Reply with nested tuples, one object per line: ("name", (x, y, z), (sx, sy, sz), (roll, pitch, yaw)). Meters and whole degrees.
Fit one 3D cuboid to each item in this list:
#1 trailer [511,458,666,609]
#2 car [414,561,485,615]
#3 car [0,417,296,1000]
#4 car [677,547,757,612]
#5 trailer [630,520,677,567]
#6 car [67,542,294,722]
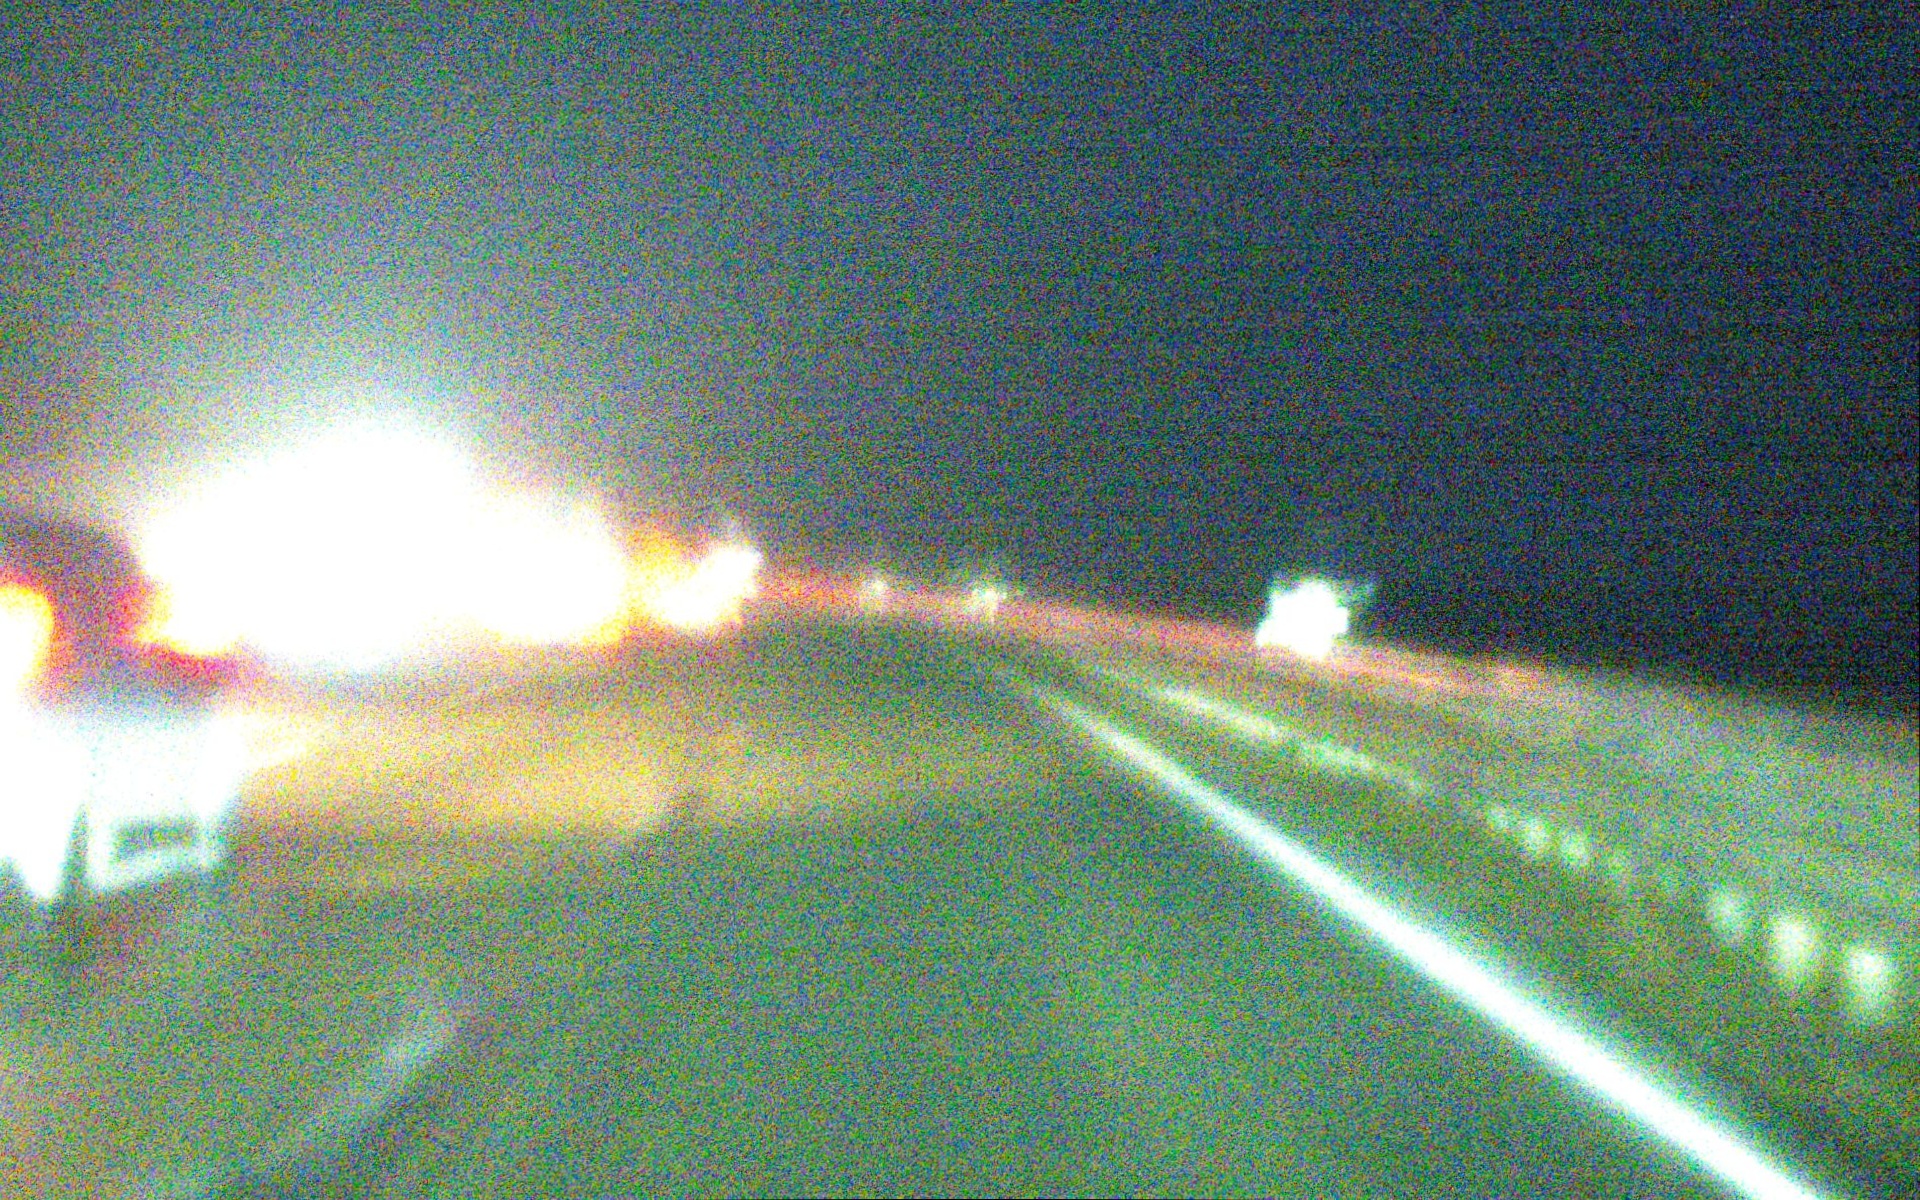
("trailer", (-10.116, -1.703, 95.070), (2.591, 3.712, 13.652), (4, 0, 0))
("car", (-16.617, -0.416, 112.085), (1.993, 1.612, 4.001), (3, 0, -6))
("car", (-4.187, 0.360, 14.324), (1.993, 2.007, 5.017), (0, 0, -2))
("car", (-7.351, -0.616, 104.386), (1.993, 1.812, 4.000), (3, 0, 1))
("trailer", (-19.302, -3.516, 216.646), (2.687, 2.690, 12.860), (3, 0, -5))
("car", (-9.639, 0.365, 42.844), (1.993, 2.007, 4.568), (3, 0, -4))
